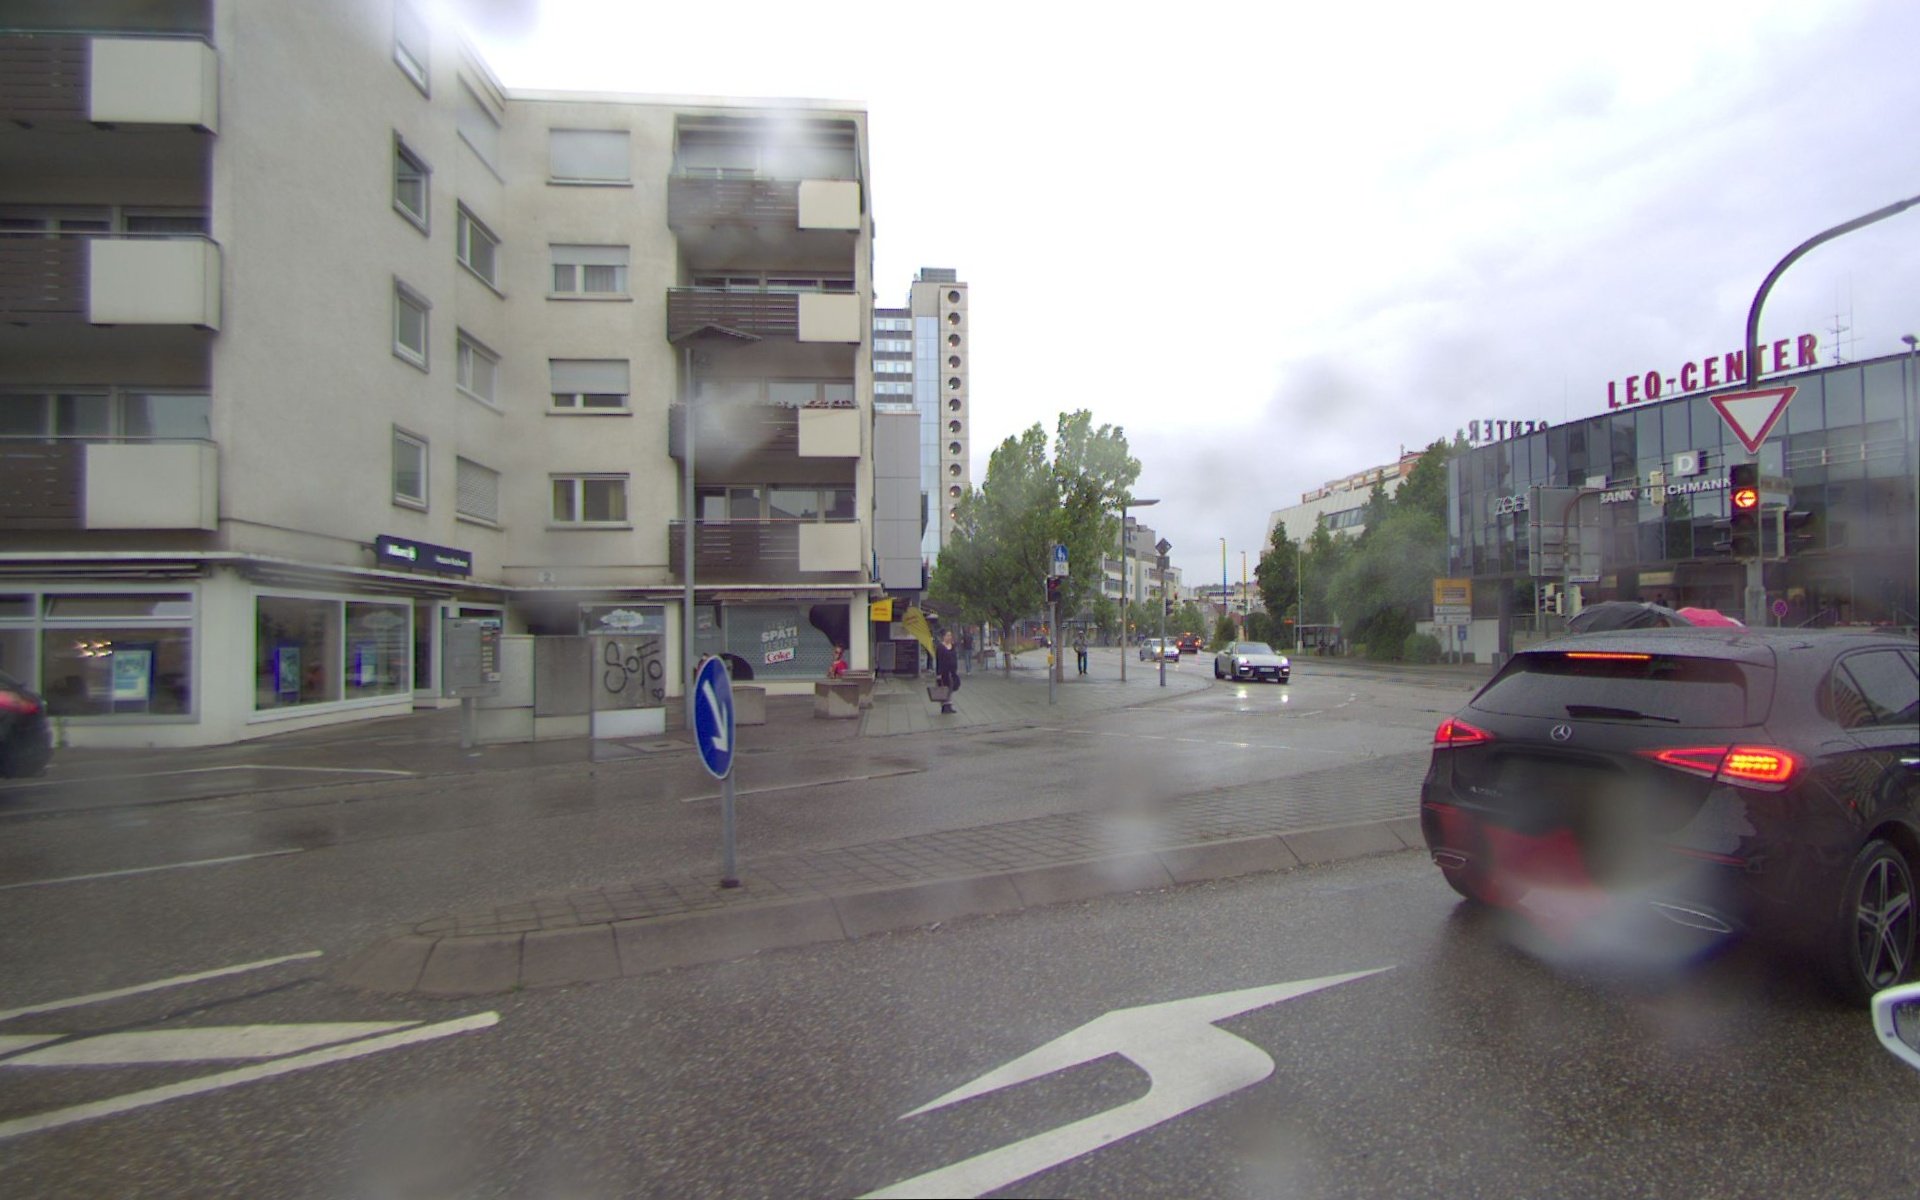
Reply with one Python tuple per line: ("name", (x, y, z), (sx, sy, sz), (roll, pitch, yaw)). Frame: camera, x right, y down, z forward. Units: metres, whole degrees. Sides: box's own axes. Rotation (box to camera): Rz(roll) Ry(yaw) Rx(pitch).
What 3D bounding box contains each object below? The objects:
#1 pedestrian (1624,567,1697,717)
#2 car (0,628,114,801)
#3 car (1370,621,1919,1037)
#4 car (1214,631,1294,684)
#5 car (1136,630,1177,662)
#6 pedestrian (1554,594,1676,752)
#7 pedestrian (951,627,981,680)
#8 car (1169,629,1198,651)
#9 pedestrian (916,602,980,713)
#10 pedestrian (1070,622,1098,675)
("pedestrian", (8.259, 0.471, 11.835), (0.602, 1.682, 0.669), (3, 2, 37))
("car", (-10.271, 1.023, 8.735), (1.913, 1.562, 4.249), (-1, -2, 42))
("car", (4.235, 0.845, 5.227), (3.950, 1.438, 1.798), (1, -2, -28))
("car", (10.766, 2.061, 37.105), (1.960, 1.532, 4.434), (2, 2, 5))
("car", (12.895, 3.013, 66.098), (1.960, 2.040, 4.001), (0, -2, 1))
("pedestrian", (7.424, 0.799, 11.427), (0.893, 1.682, 0.755), (3, 2, 15))
("pedestrian", (0.251, 2.187, 41.340), (1.007, 2.041, 0.964), (2, 2, 12))
("car", (21.637, 3.857, 97.406), (1.960, 2.040, 4.001), (0, -2, 1))
("pedestrian", (-0.235, 1.100, 19.295), (0.909, 2.040, 0.745), (2, 1, -27))
("pedestrian", (5.047, 1.967, 40.845), (1.007, 2.041, 0.964), (2, 2, 12))
